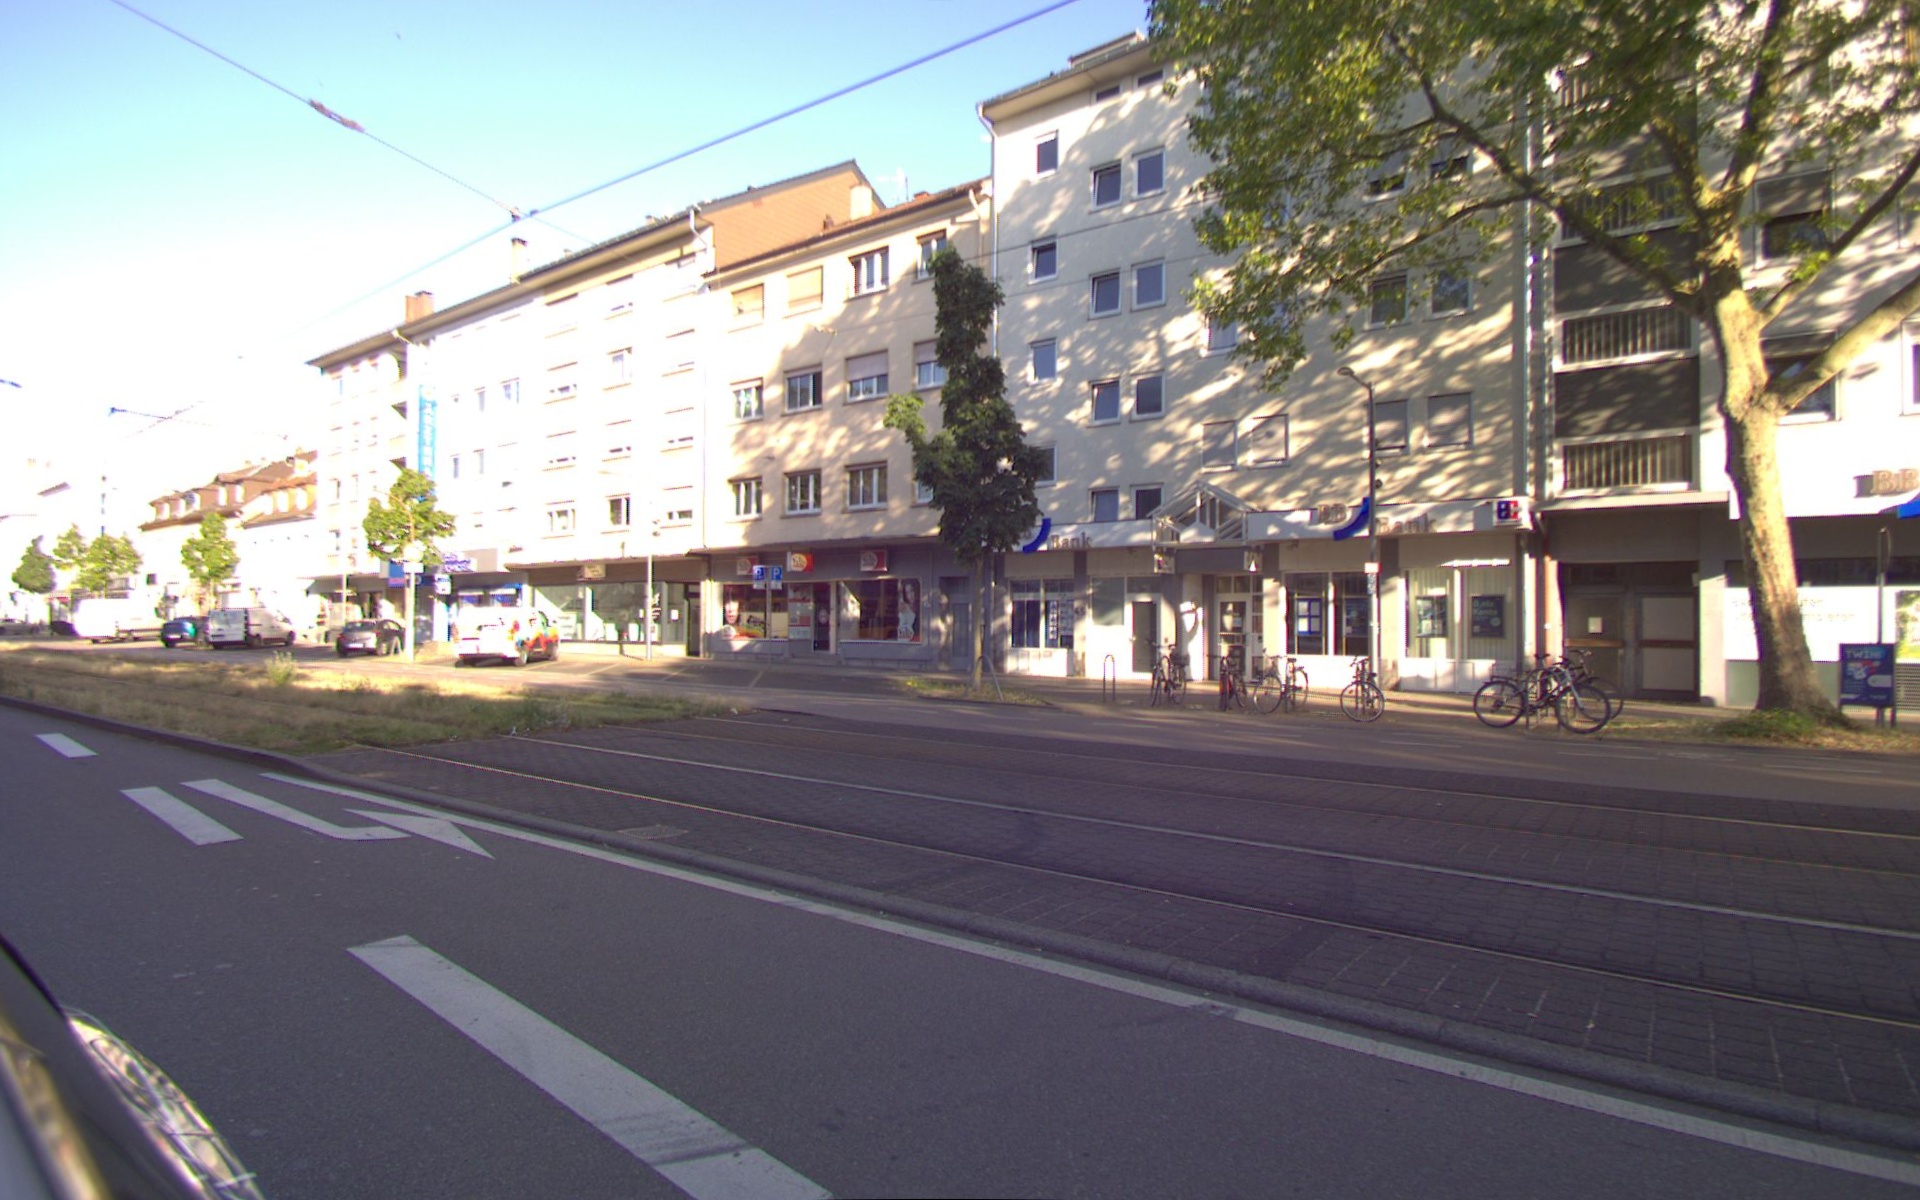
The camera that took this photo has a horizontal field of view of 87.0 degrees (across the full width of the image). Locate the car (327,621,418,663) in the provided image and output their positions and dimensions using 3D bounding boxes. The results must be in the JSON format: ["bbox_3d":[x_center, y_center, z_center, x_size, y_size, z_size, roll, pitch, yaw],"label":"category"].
[{"bbox_3d":[-23.731,1.655,41.061,1.741,1.501,4.460,-1,0,-10],"label":"car"}]

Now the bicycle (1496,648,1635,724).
[{"bbox_3d":[9.942,1.388,16.664,1.909,1.133,0.503,-1,-1,39],"label":"bicycle"}]

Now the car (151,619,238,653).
[{"bbox_3d":[-40.199,1.875,53.246,1.850,1.598,4.006,-1,0,-6],"label":"car"}]

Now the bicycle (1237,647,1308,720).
[{"bbox_3d":[5.513,1.431,17.782,0.651,1.133,1.878,-1,-1,35],"label":"bicycle"}]

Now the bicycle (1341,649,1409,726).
[{"bbox_3d":[6.895,1.412,16.771,0.651,1.133,1.878,-1,-1,35],"label":"bicycle"}]

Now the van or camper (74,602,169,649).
[{"bbox_3d":[-51.134,1.489,61.889,1.966,2.687,6.416,-1,0,-15],"label":"van or camper"}]

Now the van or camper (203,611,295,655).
[{"bbox_3d":[-34.537,1.551,49.318,1.772,2.004,4.459,-1,0,-7],"label":"van or camper"}]

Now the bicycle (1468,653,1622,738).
[{"bbox_3d":[8.637,1.377,14.990,1.909,1.133,0.503,-1,-1,39],"label":"bicycle"}]

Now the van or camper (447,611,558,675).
[{"bbox_3d":[-15.093,1.353,33.693,1.921,1.912,4.821,-1,0,-5],"label":"van or camper"}]

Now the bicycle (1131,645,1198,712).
[{"bbox_3d":[3.858,1.445,18.997,0.533,1.133,1.878,-1,-1,35],"label":"bicycle"}]

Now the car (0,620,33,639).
[{"bbox_3d":[-78.768,2.442,82.847,1.753,1.501,3.898,-1,0,14],"label":"car"}]

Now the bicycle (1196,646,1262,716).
[{"bbox_3d":[4.870,1.435,18.260,0.533,1.133,1.878,-1,-1,35],"label":"bicycle"}]
